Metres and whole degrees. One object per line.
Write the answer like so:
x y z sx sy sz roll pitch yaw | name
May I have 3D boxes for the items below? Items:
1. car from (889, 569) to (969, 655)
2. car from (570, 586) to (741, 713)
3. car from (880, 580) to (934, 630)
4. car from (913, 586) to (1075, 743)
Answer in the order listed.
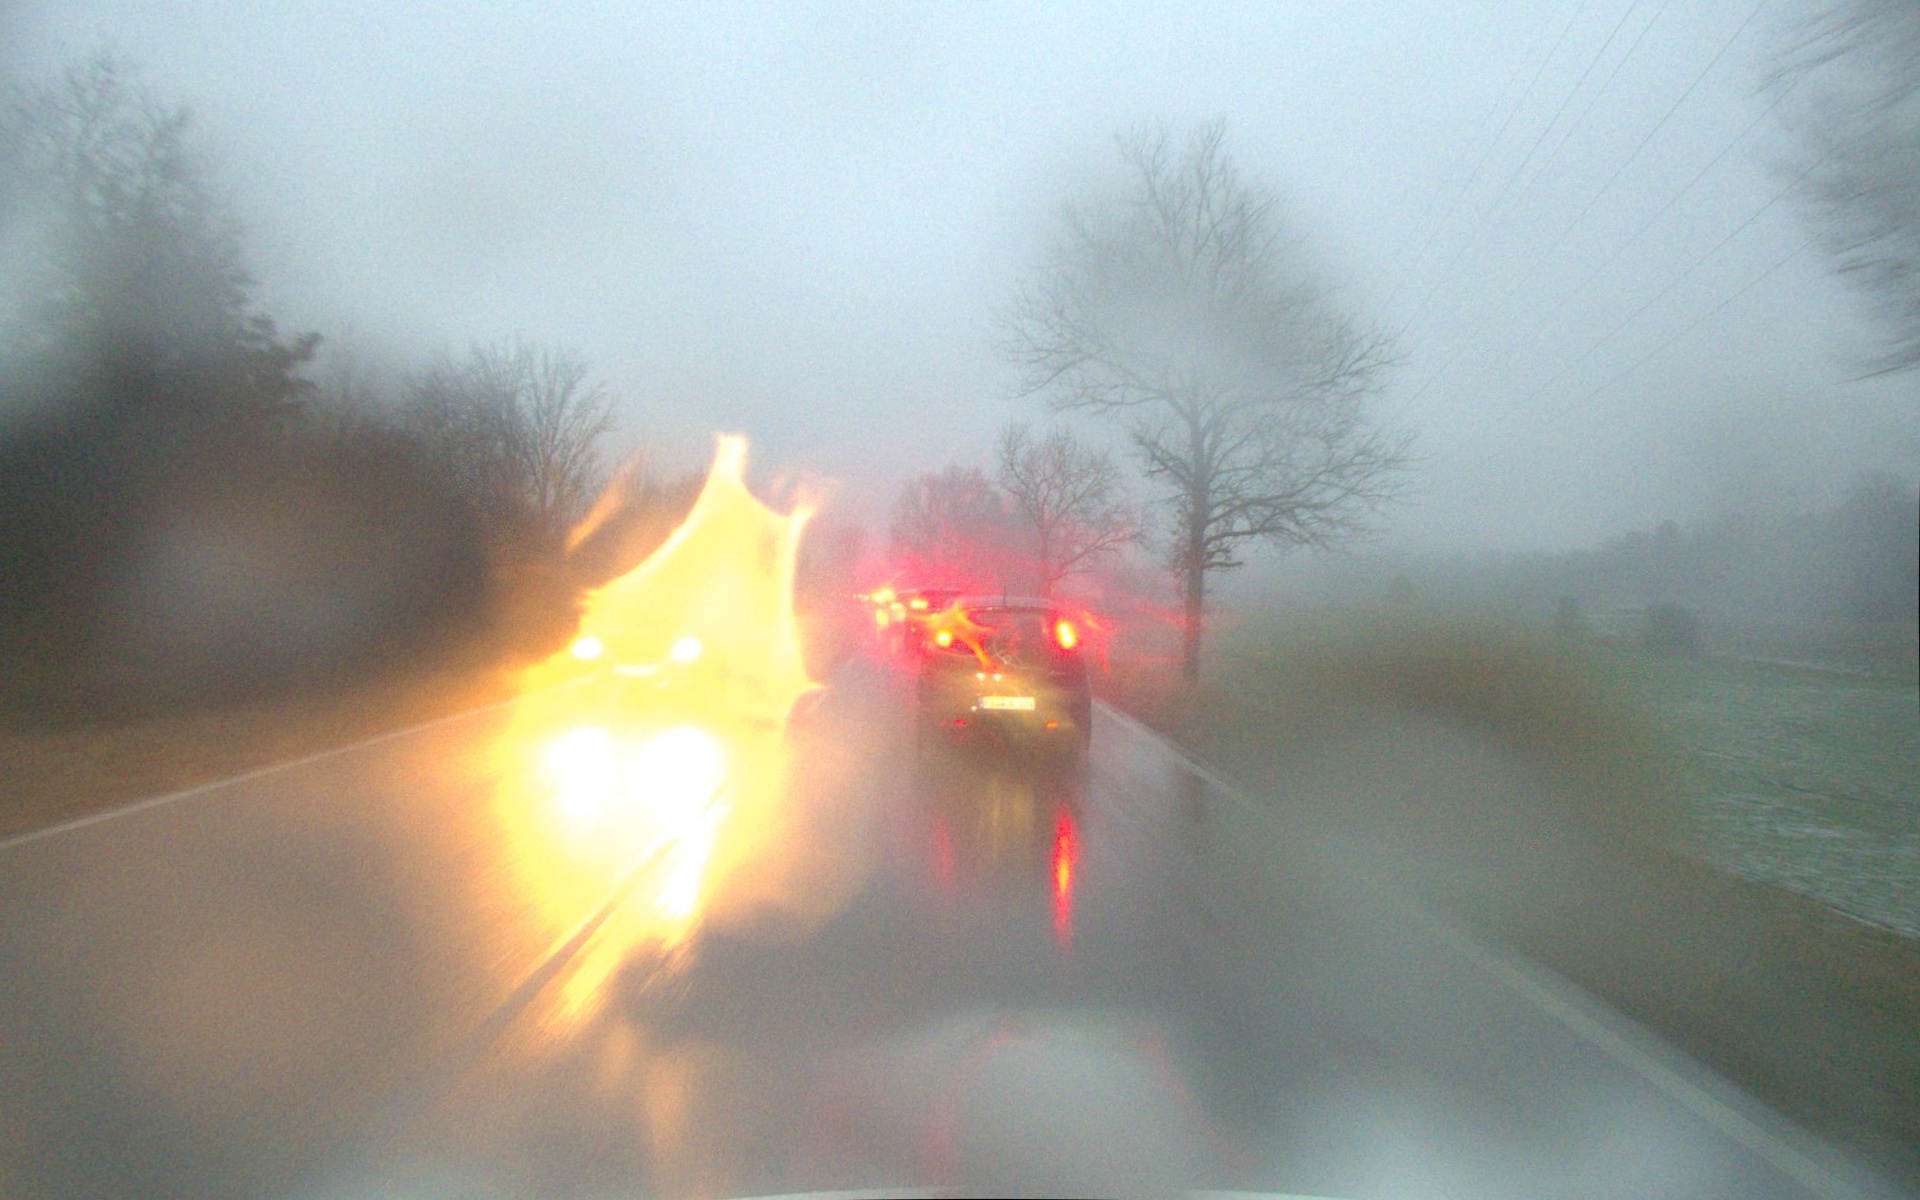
-0.740 0.280 41.841 1.814 2.049 4.001 1 0 1 | car
-3.916 0.589 21.797 1.622 1.512 3.669 1 0 -1 | car
-1.882 0.157 59.928 1.825 1.729 4.467 1 1 -1 | car
0.351 0.593 16.891 1.469 1.423 3.200 1 0 1 | car
